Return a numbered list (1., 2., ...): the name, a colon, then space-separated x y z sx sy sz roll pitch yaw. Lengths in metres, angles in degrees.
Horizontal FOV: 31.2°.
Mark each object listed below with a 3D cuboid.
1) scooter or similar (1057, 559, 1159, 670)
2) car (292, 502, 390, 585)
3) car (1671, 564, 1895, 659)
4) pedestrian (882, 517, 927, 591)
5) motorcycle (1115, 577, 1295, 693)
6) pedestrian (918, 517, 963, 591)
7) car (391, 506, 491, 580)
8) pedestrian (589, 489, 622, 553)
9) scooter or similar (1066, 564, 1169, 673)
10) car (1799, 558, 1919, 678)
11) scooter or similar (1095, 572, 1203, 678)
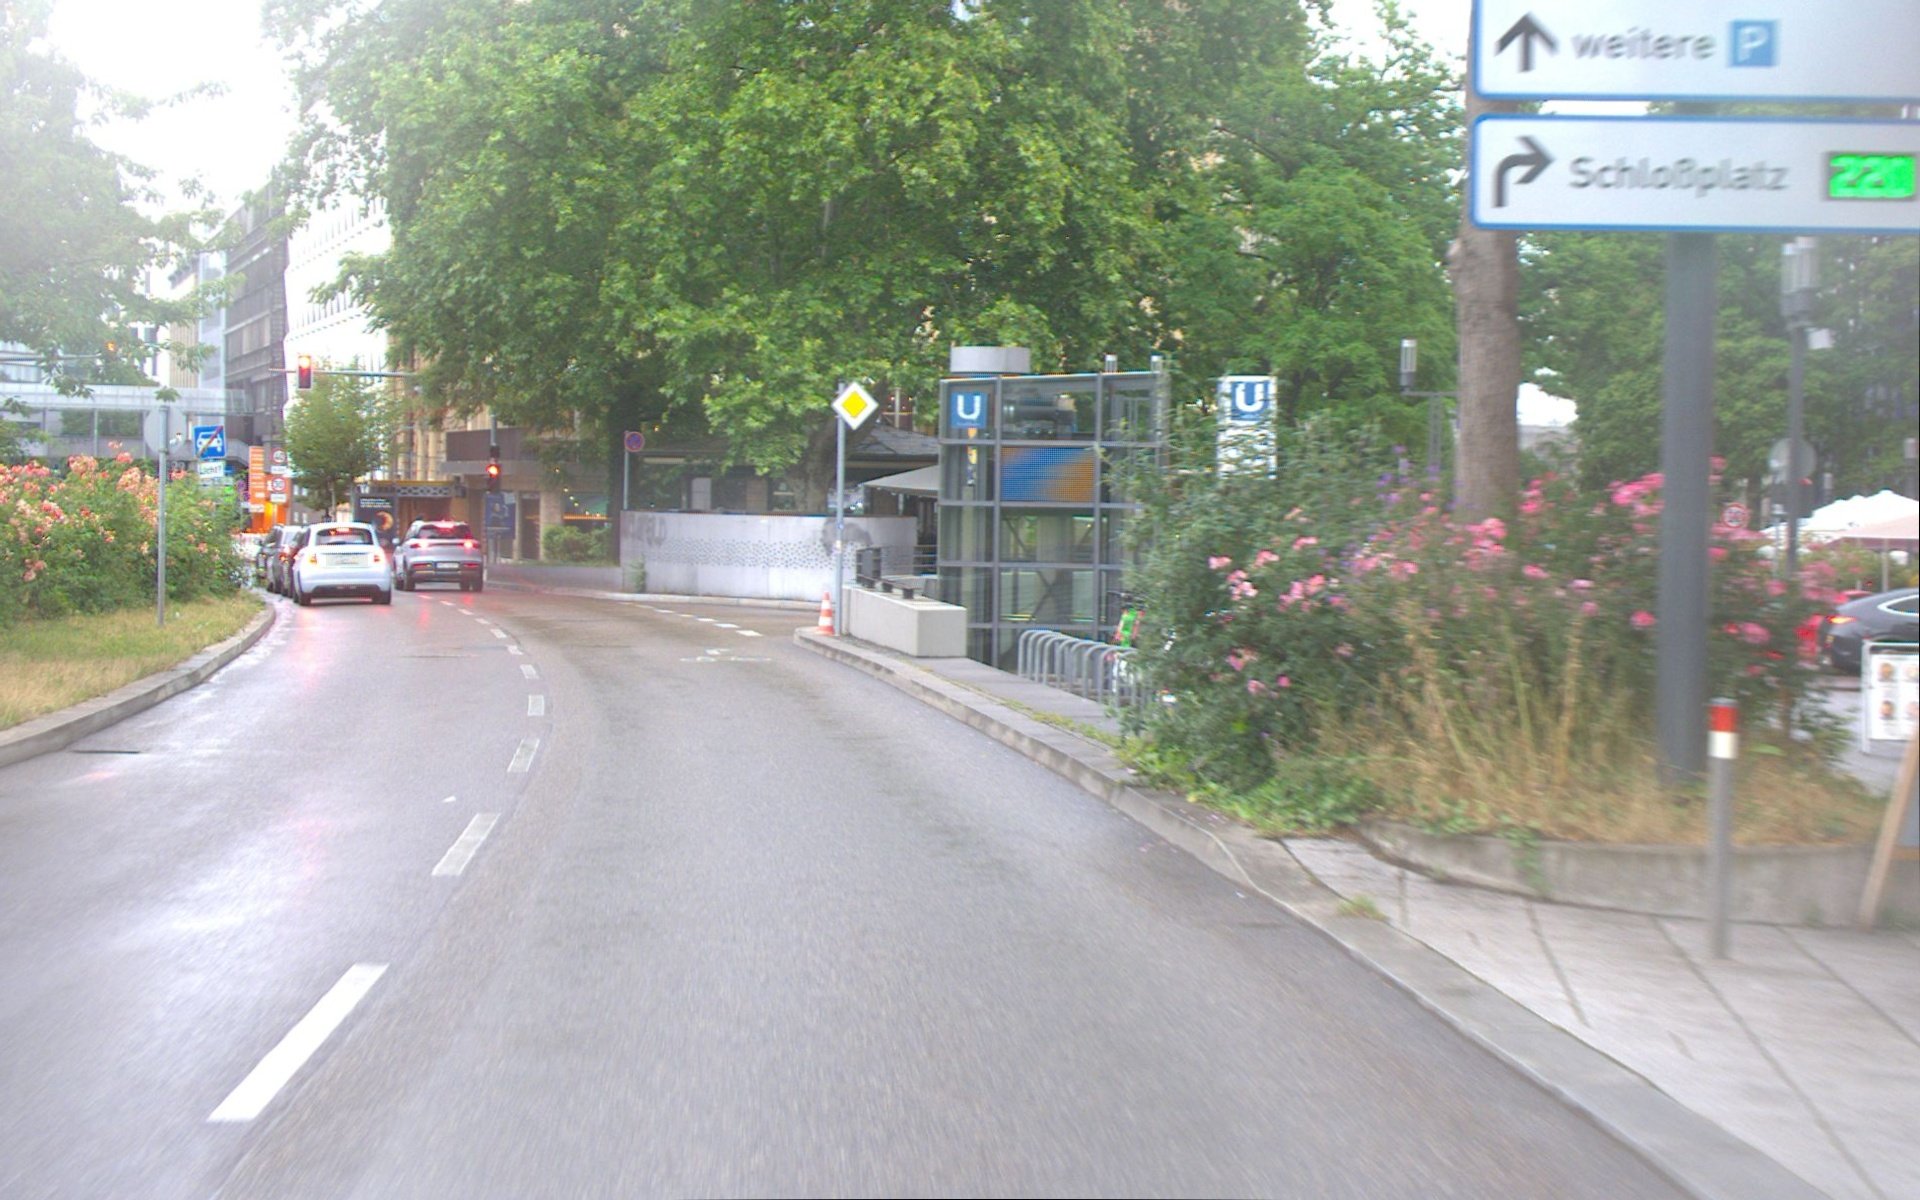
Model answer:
1. scooter or similar: 1.748 0.168 40.544 1.112 1.265 0.365 2 1 -8
2. car: -11.615 -1.071 64.401 1.590 1.486 3.506 -1 2 -13
3. car: 14.145 0.184 59.238 1.609 1.411 3.529 2 2 -34
4. pedestrian: -1.091 -0.907 67.639 0.684 1.405 0.905 3 0 -9
5. motorcycle: 2.589 0.369 36.408 1.776 1.154 0.607 2 1 -8
6. pedestrian: -0.386 -0.903 67.791 0.684 1.405 0.905 3 0 -9
7. car: -12.321 -1.348 81.392 1.946 1.660 4.347 1 1 -13
8. pedestrian: -9.894 -2.196 95.927 0.858 1.774 0.718 0 1 -10
9. scooter or similar: 1.833 0.215 40.118 1.112 1.230 0.365 2 1 -8
10. car: 15.074 0.314 51.360 4.737 1.685 2.004 2 2 10
11. scooter or similar: 2.133 0.279 38.757 1.112 1.154 0.443 2 1 -8
